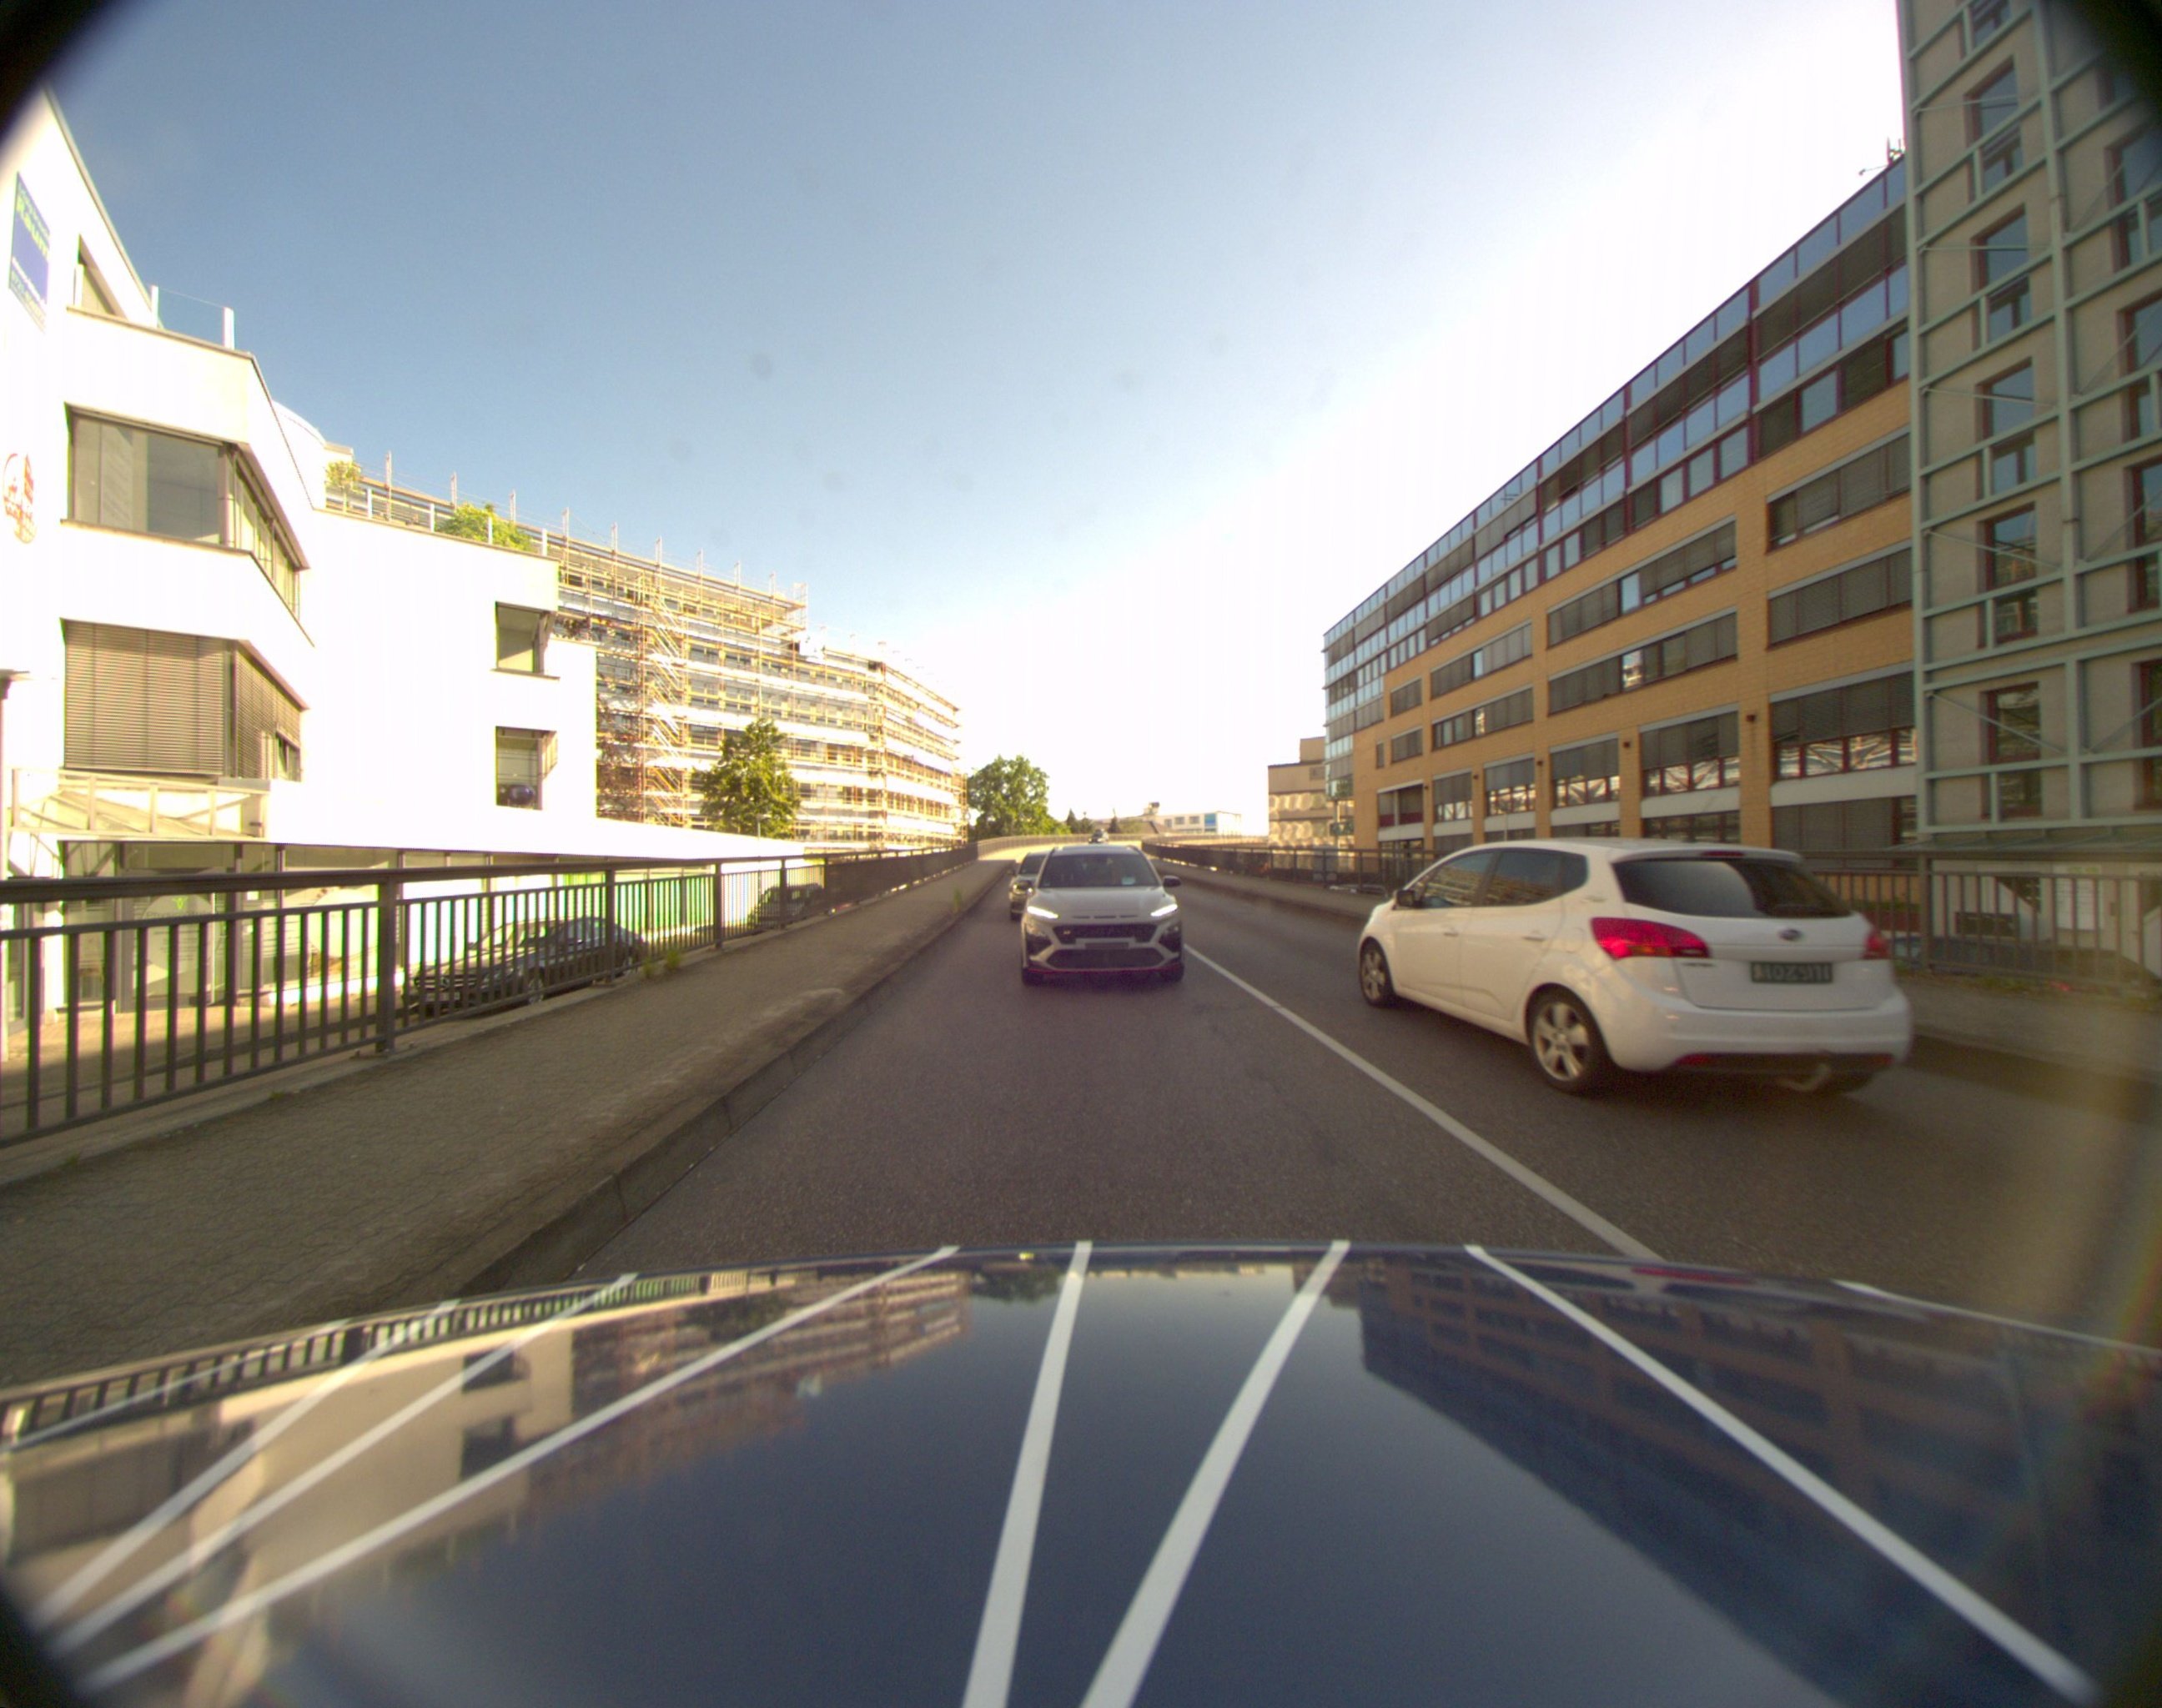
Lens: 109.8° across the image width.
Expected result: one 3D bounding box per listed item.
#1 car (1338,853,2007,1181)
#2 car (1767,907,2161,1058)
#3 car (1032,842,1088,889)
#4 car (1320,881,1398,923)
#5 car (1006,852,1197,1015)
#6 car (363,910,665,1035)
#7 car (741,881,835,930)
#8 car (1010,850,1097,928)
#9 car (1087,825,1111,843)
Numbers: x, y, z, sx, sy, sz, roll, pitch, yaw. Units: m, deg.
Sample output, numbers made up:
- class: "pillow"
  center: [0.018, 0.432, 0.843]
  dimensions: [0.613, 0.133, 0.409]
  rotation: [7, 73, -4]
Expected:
- class: "car"
  center: [3.627, 0.803, 5.768]
  dimensions: [1.825, 1.594, 3.998]
  rotation: [0, 0, -3]
- class: "car"
  center: [13.375, 1.728, 11.551]
  dimensions: [1.825, 1.594, 4.356]
  rotation: [0, -1, -3]
- class: "car"
  center: [-0.820, 0.351, 27.874]
  dimensions: [1.849, 1.527, 4.506]
  rotation: [-2, 1, -3]
- class: "car"
  center: [12.247, 2.088, 33.738]
  dimensions: [1.998, 1.652, 4.000]
  rotation: [0, -1, 0]
- class: "car"
  center: [0.172, 0.785, 9.614]
  dimensions: [1.849, 1.561, 4.220]
  rotation: [-1, 0, -1]
- class: "car"
  center: [-9.805, 1.955, 13.763]
  dimensions: [1.849, 1.422, 4.681]
  rotation: [-2, 1, 1]
- class: "car"
  center: [-10.566, 1.815, 27.723]
  dimensions: [1.849, 1.526, 4.000]
  rotation: [0, -1, 0]
- class: "car"
  center: [-0.552, 0.690, 17.415]
  dimensions: [1.721, 1.483, 4.168]
  rotation: [-2, 1, 0]
- class: "car"
  center: [2.325, -2.559, 96.595]
  dimensions: [1.907, 2.202, 4.602]
  rotation: [1, 4, 16]
